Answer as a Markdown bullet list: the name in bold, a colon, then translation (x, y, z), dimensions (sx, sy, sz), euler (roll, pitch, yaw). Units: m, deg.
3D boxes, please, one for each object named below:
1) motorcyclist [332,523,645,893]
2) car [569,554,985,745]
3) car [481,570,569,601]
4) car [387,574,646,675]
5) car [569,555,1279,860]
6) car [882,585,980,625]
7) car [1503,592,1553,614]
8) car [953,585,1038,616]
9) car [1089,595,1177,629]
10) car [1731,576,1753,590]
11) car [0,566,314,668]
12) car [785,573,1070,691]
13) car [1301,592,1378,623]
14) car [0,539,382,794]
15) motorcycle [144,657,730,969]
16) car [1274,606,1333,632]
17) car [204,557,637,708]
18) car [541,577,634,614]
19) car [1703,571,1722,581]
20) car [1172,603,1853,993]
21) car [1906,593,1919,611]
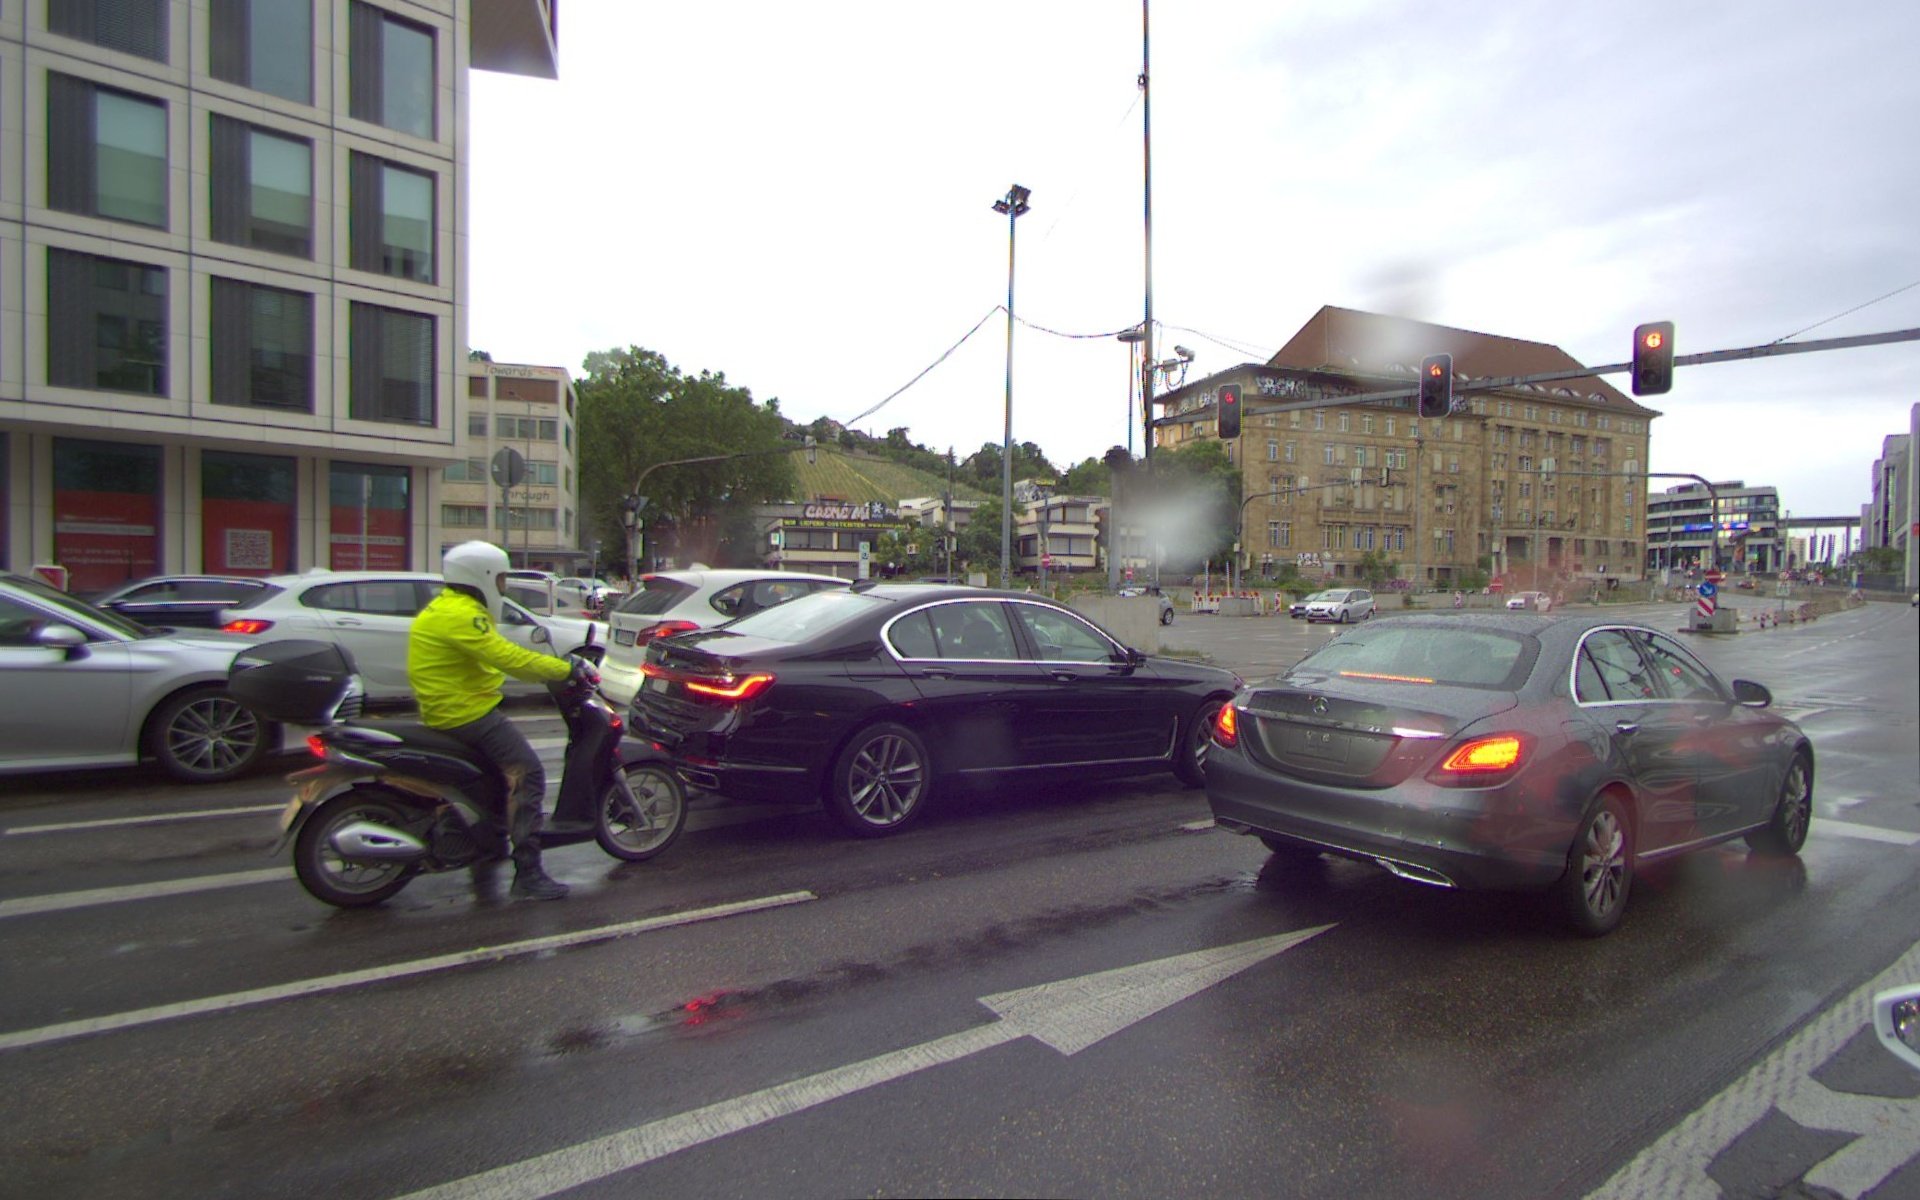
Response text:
- **motorcyclist**: translation (-2.237, 0.437, 4.770), dimensions (1.092, 1.495, 0.933), euler (2, 1, -41)
- **car**: translation (-1.803, 0.451, 10.600), dimensions (3.969, 1.637, 1.717), euler (2, 1, -41)
- **car**: translation (-26.270, -0.884, 60.743), dimensions (4.363, 1.670, 2.000), euler (3, 1, 2)
- **car**: translation (-7.986, 0.433, 18.325), dimensions (1.680, 1.595, 3.975), euler (3, 1, 45)
- **car**: translation (-0.003, 0.588, 7.308), dimensions (4.956, 1.535, 1.873), euler (2, 1, -37)
- **car**: translation (-1.429, 0.228, 48.776), dimensions (4.318, 1.684, 1.996), euler (3, 1, 32)
- **car**: translation (37.564, 0.205, 66.418), dimensions (3.971, 1.277, 1.751), euler (2, 1, -43)
- **car**: translation (1.808, 0.027, 51.322), dimensions (3.925, 1.339, 1.652), euler (3, 1, 26)
- **car**: translation (7.355, 0.520, 42.436), dimensions (3.974, 1.277, 1.607), euler (2, 1, -45)
- **car**: translation (130.697, -2.841, 167.898), dimensions (1.962, 2.040, 3.997), euler (3, 1, 25)
- **car**: translation (-13.604, 0.292, 17.086), dimensions (4.162, 1.539, 1.681), euler (2, -1, -43)
- **car**: translation (-0.485, 0.502, 15.575), dimensions (4.021, 1.621, 1.776), euler (2, 1, -27)
- **car**: translation (18.247, 0.373, 48.269), dimensions (4.164, 1.277, 1.751), euler (2, 1, -43)
- **car**: translation (-6.620, 0.357, 6.547), dimensions (4.756, 1.541, 1.817), euler (2, 1, -37)
- **motorcycle**: translation (-2.337, 0.830, 4.712), dimensions (2.277, 1.002, 0.933), euler (1, 1, -42)
- **car**: translation (18.740, 1.056, 54.810), dimensions (3.308, 1.277, 1.720), euler (2, 1, -45)
- **car**: translation (-5.860, 0.336, 11.172), dimensions (3.954, 1.391, 1.771), euler (2, 1, -35)
- **car**: translation (-19.179, -0.240, 51.711), dimensions (4.369, 1.671, 1.998), euler (3, 1, 27)
- **car**: translation (147.296, -4.740, 196.737), dimensions (1.961, 1.840, 3.998), euler (3, 1, 22)
- **car**: translation (3.434, 0.769, 5.892), dimensions (4.443, 1.421, 1.771), euler (0, 2, -36)
- **car**: translation (92.893, 0.254, 96.758), dimensions (1.967, 1.662, 3.987), euler (3, 1, 35)
